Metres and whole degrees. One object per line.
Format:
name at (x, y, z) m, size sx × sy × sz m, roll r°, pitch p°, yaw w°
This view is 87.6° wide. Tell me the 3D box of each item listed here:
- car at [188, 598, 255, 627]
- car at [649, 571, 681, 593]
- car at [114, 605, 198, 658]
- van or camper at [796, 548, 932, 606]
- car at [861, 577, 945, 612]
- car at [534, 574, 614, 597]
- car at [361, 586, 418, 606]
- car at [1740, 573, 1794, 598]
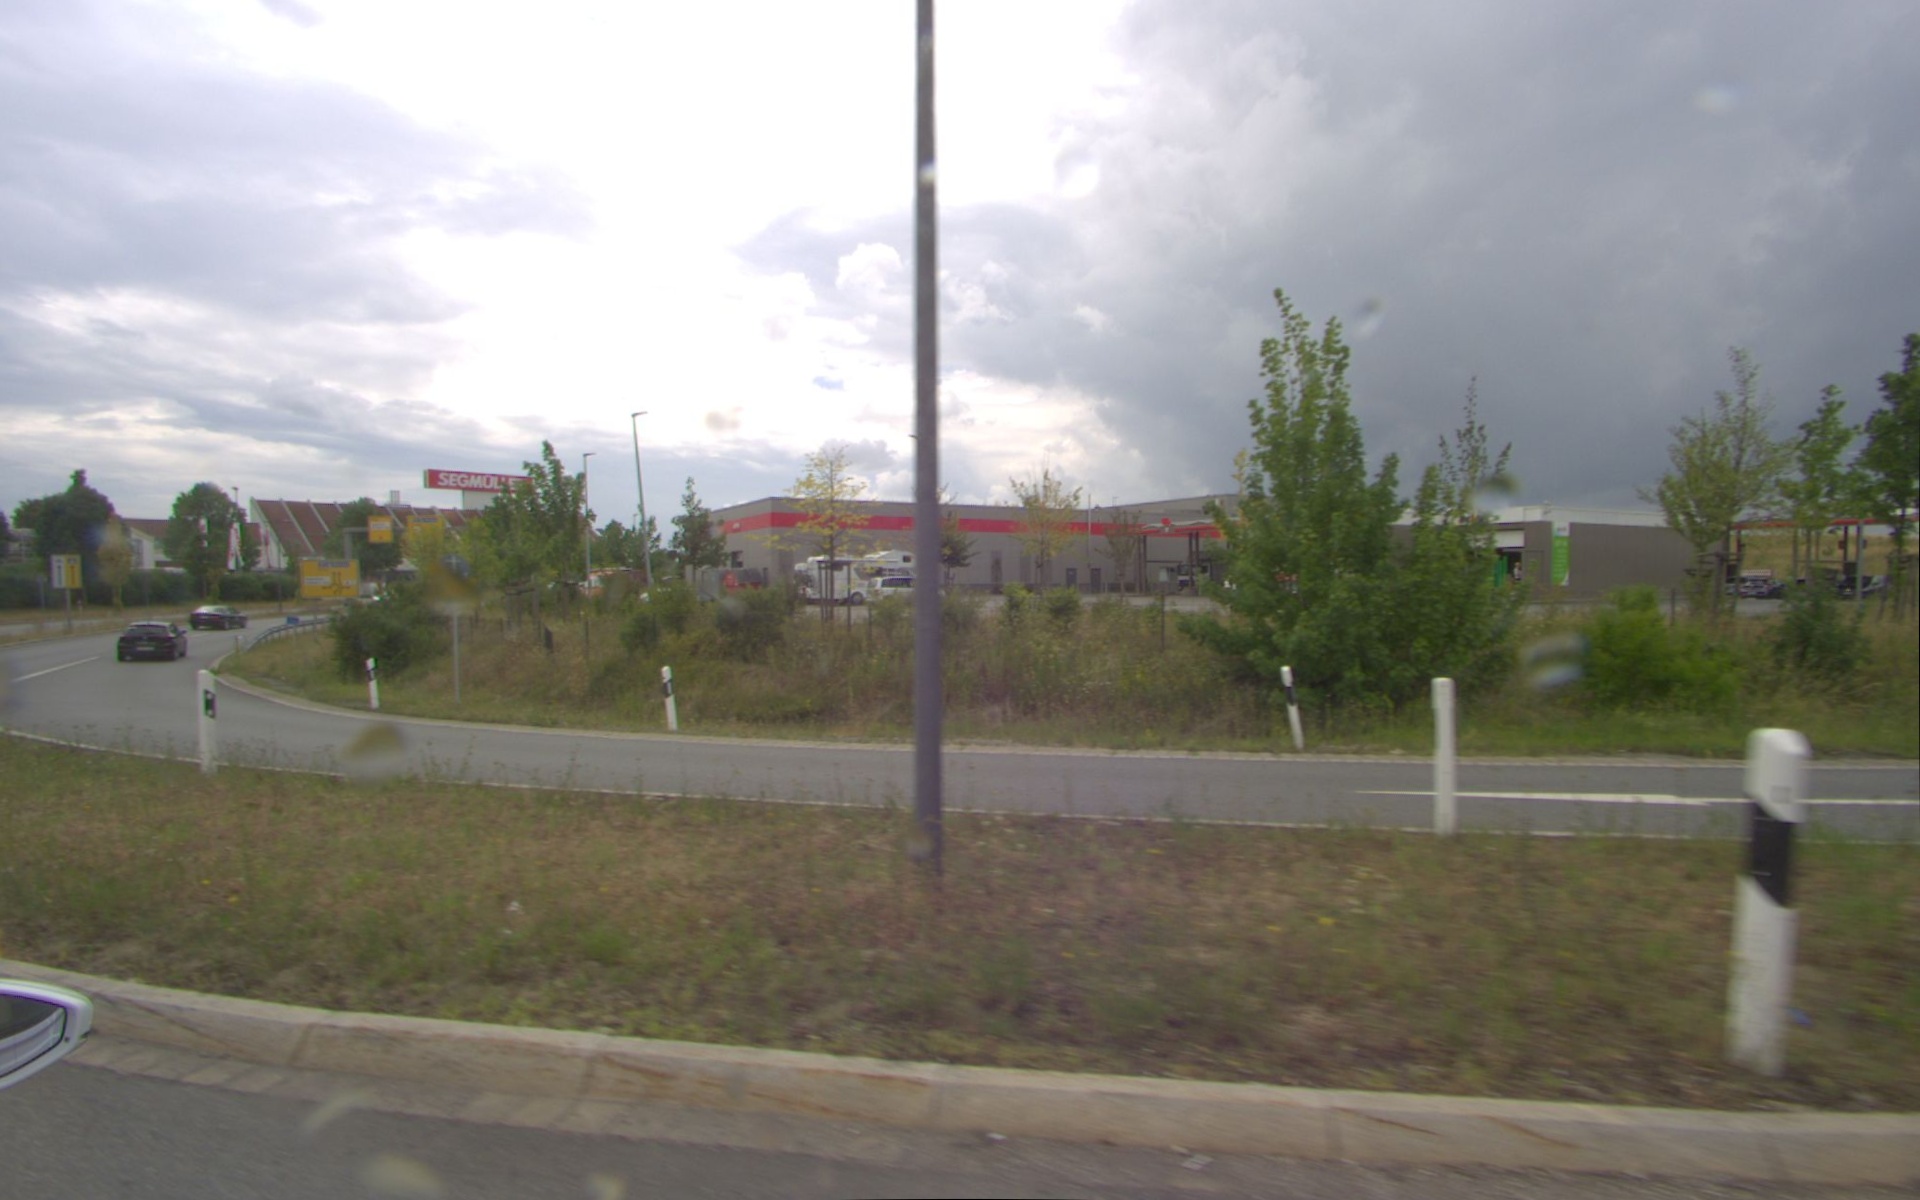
car at (-42.855, 0.718, 58.239) m, size 1.878 × 1.639 × 3.992 m, roll 0°, pitch 0°, yaw -17°
car at (-25.804, -1.577, 87.492) m, size 1.680 × 1.836 × 3.948 m, roll -4°, pitch 3°, yaw -30°
car at (-30.728, 1.157, 38.363) m, size 1.848 × 1.628 × 3.712 m, roll -3°, pitch 4°, yaw -30°
van or camper at (-5.561, -1.386, 58.621) m, size 7.629 × 3.223 × 2.477 m, roll -1°, pitch 3°, yaw -32°
car at (-2.960, -0.285, 52.203) m, size 3.999 × 1.743 × 1.772 m, roll 0°, pitch 0°, yaw -26°
car at (-24.356, -0.876, 63.314) m, size 1.681 × 1.419 × 4.559 m, roll 1°, pitch 1°, yaw 35°
car at (-53.139, -0.345, 93.437) m, size 1.879 × 1.647 × 4.633 m, roll 4°, pitch 0°, yaw 14°
car at (52.729, -0.917, 65.446) m, size 3.614 × 1.559 × 1.788 m, roll 0°, pitch 0°, yaw -34°
